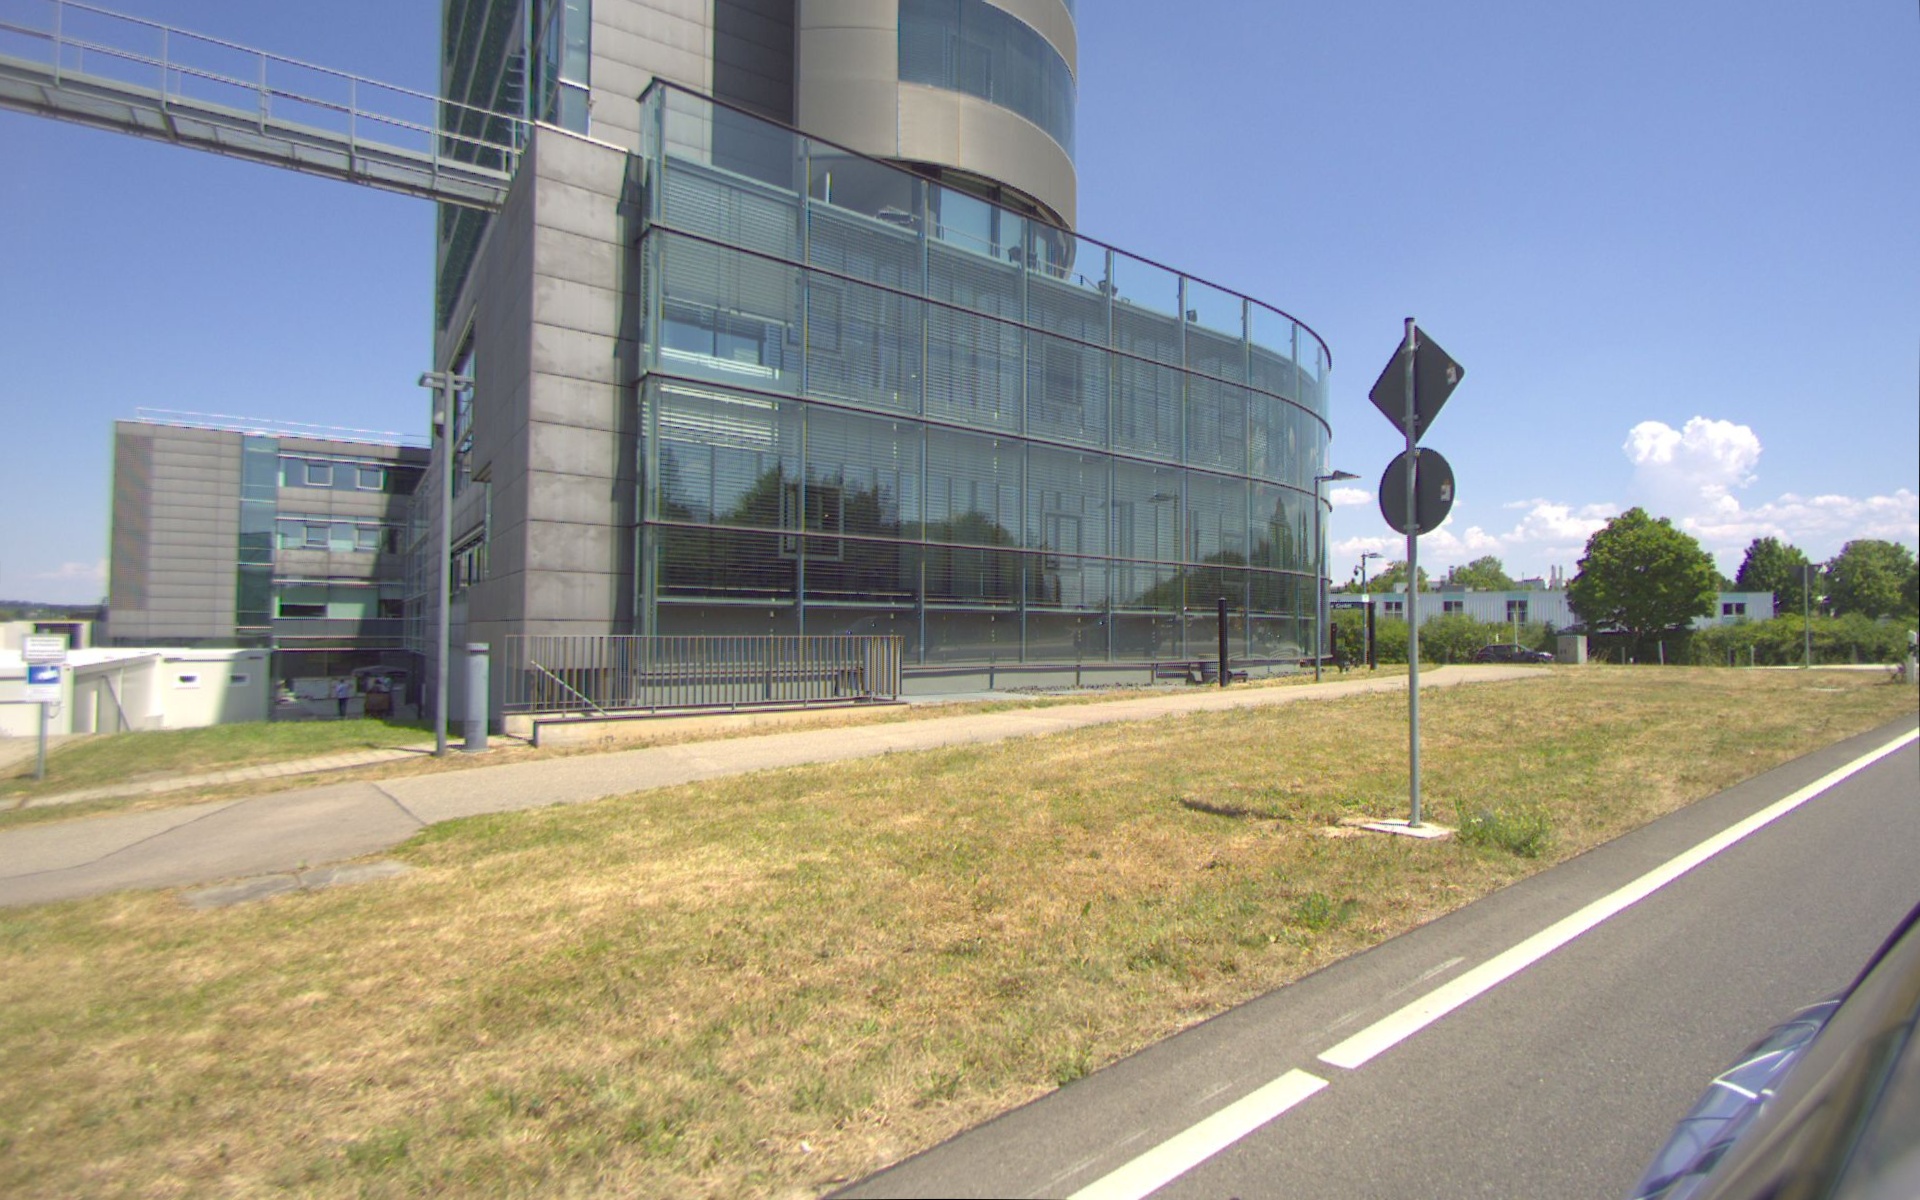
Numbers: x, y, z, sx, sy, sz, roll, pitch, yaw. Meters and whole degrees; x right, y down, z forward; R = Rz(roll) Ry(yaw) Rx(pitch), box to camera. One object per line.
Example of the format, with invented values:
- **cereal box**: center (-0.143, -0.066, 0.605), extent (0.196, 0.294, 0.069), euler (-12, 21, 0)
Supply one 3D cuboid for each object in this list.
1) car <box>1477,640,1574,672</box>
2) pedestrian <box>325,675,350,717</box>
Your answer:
- **car**: center (29.890, 2.983, 53.563), extent (4.322, 1.620, 1.914), euler (-3, -4, 34)
- **pedestrian**: center (-28.017, 4.310, 45.537), extent (0.935, 1.780, 0.751), euler (0, -2, -31)
